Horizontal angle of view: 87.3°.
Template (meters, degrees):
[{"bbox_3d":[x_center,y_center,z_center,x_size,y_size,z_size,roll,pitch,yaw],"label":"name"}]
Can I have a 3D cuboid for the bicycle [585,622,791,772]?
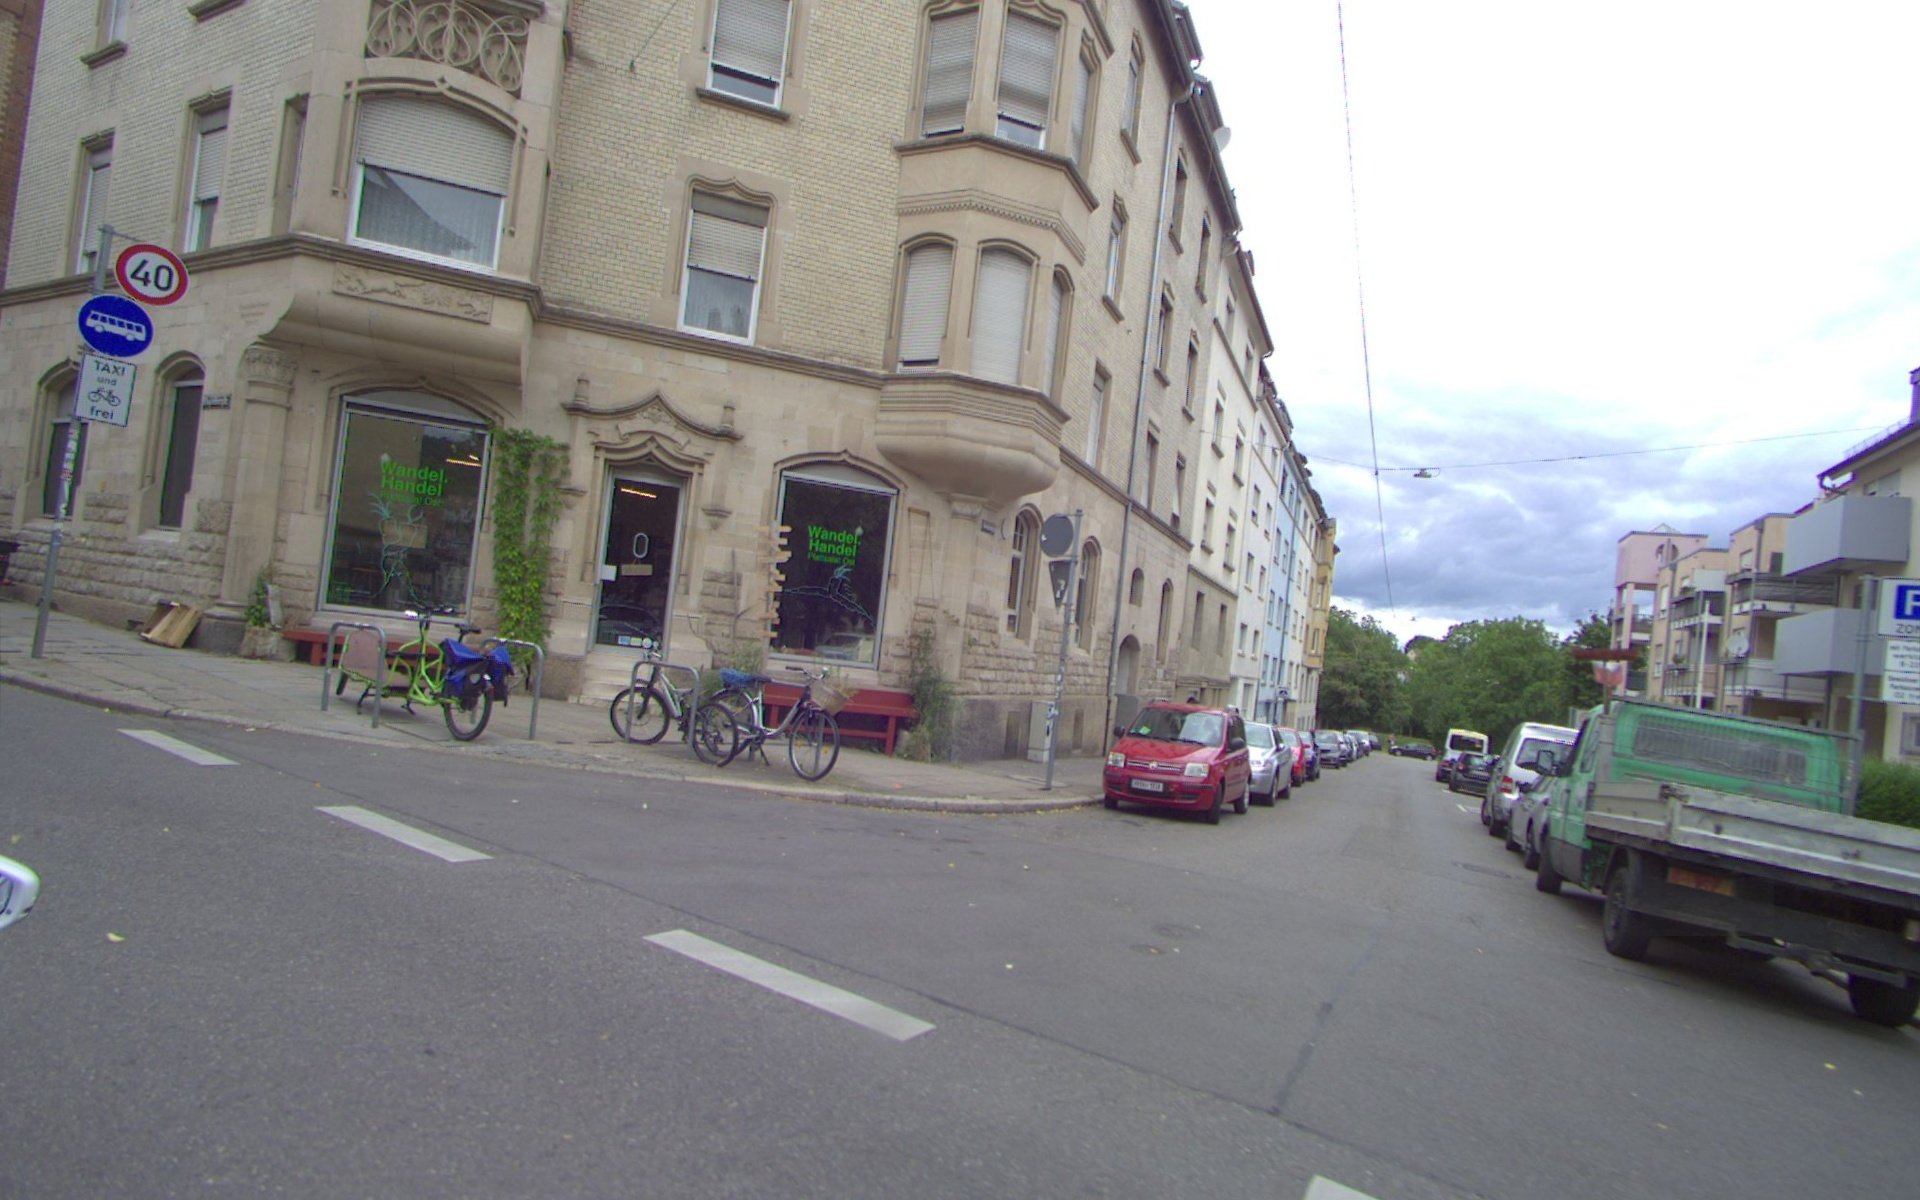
[{"bbox_3d":[-2.822,0.974,10.353,2.024,1.162,0.683,9,-2,31],"label":"bicycle"}]

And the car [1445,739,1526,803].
[{"bbox_3d":[19.311,6.233,37.166,2.108,1.719,4.693,7,-3,24],"label":"car"}]

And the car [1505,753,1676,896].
[{"bbox_3d":[8.940,3.090,14.533,1.536,1.391,3.798,7,-3,26],"label":"car"}]

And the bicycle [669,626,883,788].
[{"bbox_3d":[-1.967,1.075,10.529,2.346,1.291,0.459,7,-2,32],"label":"bicycle"}]

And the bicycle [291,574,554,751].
[{"bbox_3d":[-5.112,0.540,9.457,2.891,1.163,0.683,9,0,31],"label":"bicycle"}]

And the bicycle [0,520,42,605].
[{"bbox_3d":[-14.605,-0.645,14.936,2.442,1.163,0.683,6,-1,31],"label":"bicycle"}]

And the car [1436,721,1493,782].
[{"bbox_3d":[26.876,8.033,53.739,2.208,2.707,4.692,7,-2,24],"label":"car"}]

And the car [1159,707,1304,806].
[{"bbox_3d":[5.101,2.834,18.490,1.832,1.394,4.005,5,-5,25],"label":"car"}]

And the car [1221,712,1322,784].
[{"bbox_3d":[8.218,3.895,26.295,1.863,1.434,4.007,7,-5,25],"label":"car"}]

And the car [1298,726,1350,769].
[{"bbox_3d":[15.727,6.314,43.376,1.614,1.461,3.727,7,-3,25],"label":"car"}]

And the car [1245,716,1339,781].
[{"bbox_3d":[10.062,4.414,30.301,1.965,1.489,4.001,7,-3,27],"label":"car"}]

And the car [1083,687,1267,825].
[{"bbox_3d":[3.220,2.201,14.442,1.638,1.509,4.016,4,-6,25],"label":"car"}]

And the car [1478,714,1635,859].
[{"bbox_3d":[11.164,3.473,19.143,1.953,2.089,4.410,7,-5,26],"label":"car"}]

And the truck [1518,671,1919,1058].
[{"bbox_3d":[6.939,2.073,8.966,2.508,2.128,5.869,9,-3,23],"label":"truck"}]
